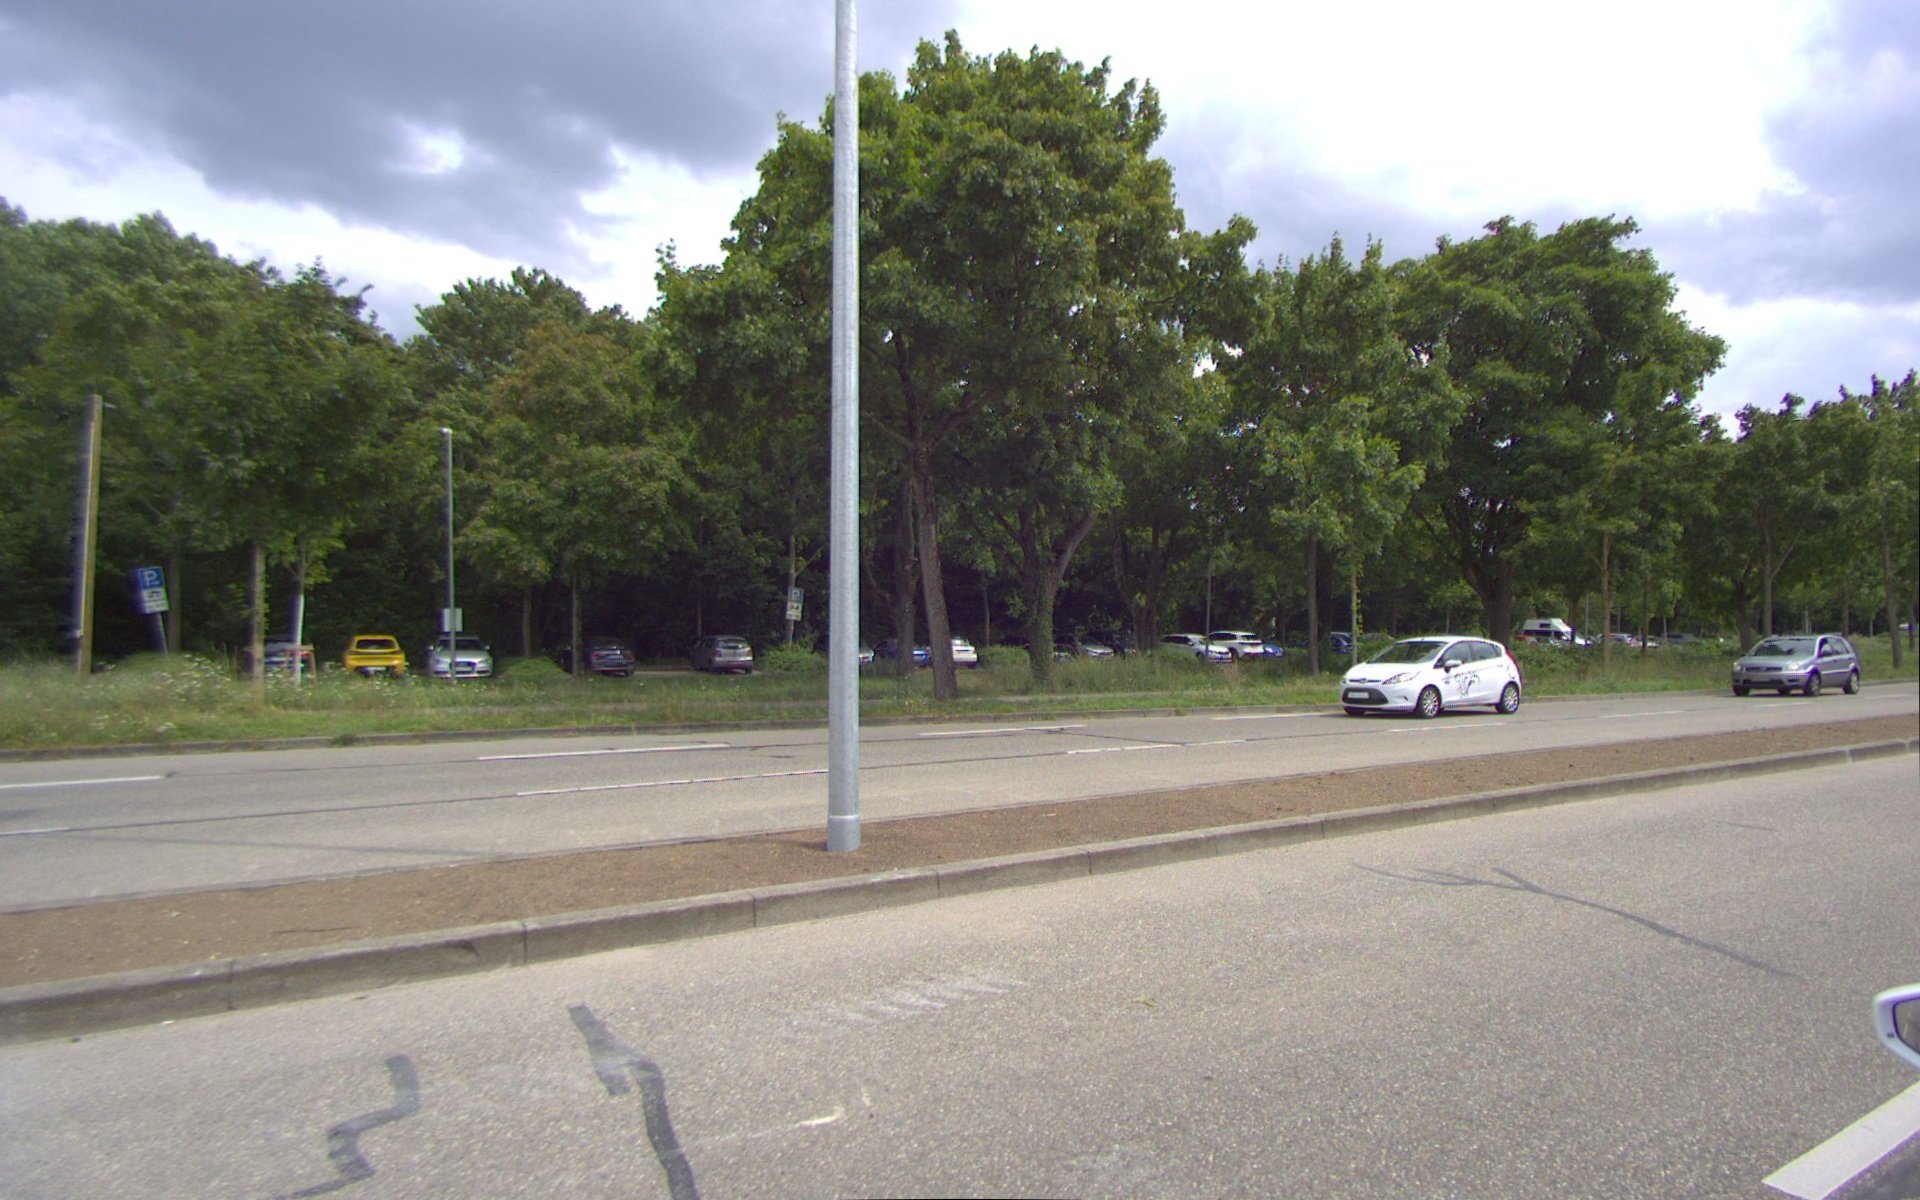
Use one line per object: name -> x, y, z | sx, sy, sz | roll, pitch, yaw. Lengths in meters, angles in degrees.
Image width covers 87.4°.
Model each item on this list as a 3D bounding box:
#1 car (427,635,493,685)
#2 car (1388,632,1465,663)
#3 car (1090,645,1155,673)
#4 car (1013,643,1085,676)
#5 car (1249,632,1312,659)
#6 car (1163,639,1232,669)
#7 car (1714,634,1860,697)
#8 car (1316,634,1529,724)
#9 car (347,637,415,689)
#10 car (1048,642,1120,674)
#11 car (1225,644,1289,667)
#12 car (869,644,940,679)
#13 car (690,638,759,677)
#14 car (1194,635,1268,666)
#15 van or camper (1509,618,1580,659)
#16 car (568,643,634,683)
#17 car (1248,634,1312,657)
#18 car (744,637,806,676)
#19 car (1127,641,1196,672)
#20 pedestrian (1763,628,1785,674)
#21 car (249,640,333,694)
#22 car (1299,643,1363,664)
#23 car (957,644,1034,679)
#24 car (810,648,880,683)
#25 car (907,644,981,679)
car -> -16.847, 1.964, 33.792 | 1.861, 1.518, 4.164 | 1, -1, -28
car -> 28.794, 2.887, 62.078 | 1.975, 1.806, 3.972 | 1, -1, -28
car -> 7.949, 2.876, 49.318 | 1.498, 1.222, 3.282 | 1, -1, -27
car -> 4.144, 2.752, 47.197 | 1.686, 1.378, 3.632 | 1, -1, -27
car -> 18.085, 2.570, 56.771 | 1.305, 1.430, 3.537 | 1, -1, -27
car -> 12.293, 2.767, 52.164 | 1.498, 1.430, 3.636 | 1, -1, -27
car -> 21.518, 1.650, 26.101 | 3.954, 1.496, 1.695 | 1, -2, -31
car -> 8.637, 1.397, 18.691 | 3.954, 1.496, 1.682 | 1, -2, -31
car -> -18.956, 2.008, 33.036 | 1.763, 1.518, 3.971 | 1, -1, -28
car -> 5.931, 2.777, 48.359 | 1.686, 1.378, 3.632 | 1, -1, -27
car -> 16.290, 3.028, 55.196 | 1.423, 1.127, 3.353 | 1, -1, -28
car -> -2.463, 2.643, 43.729 | 1.646, 1.378, 3.972 | 1, -1, -27
car -> -9.272, 2.213, 39.400 | 1.763, 1.366, 3.695 | 1, -1, -28
car -> 14.419, 2.654, 53.659 | 1.858, 1.539, 3.636 | 1, -1, -27
van or camper -> 41.485, 2.677, 71.346 | 1.904, 2.793, 3.969 | 1, -1, -30
car -> -12.999, 2.233, 36.285 | 1.763, 1.274, 3.695 | 1, -1, -28
car -> 17.541, 2.470, 55.203 | 1.423, 1.143, 3.353 | 1, -1, -28
car -> -7.476, 2.243, 40.376 | 1.498, 1.430, 3.636 | 1, -1, -27
car -> 10.143, 2.832, 50.845 | 1.498, 1.430, 3.636 | 1, -1, -27
pedestrian -> 33.510, 2.104, 41.366 | 0.682, 1.863, 0.648 | -1, -1, 38
car -> -20.982, 2.051, 31.648 | 1.763, 1.518, 3.971 | 1, -1, -28
car -> 21.004, 3.018, 56.999 | 1.423, 1.108, 3.353 | 1, -1, -28
car -> 1.577, 2.759, 45.915 | 1.973, 1.429, 3.976 | 1, -1, -25
car -> -4.850, 2.705, 41.918 | 1.645, 1.254, 3.973 | 1, -1, -26
car -> -0.773, 2.725, 45.120 | 1.799, 1.378, 3.972 | 1, -1, -27
